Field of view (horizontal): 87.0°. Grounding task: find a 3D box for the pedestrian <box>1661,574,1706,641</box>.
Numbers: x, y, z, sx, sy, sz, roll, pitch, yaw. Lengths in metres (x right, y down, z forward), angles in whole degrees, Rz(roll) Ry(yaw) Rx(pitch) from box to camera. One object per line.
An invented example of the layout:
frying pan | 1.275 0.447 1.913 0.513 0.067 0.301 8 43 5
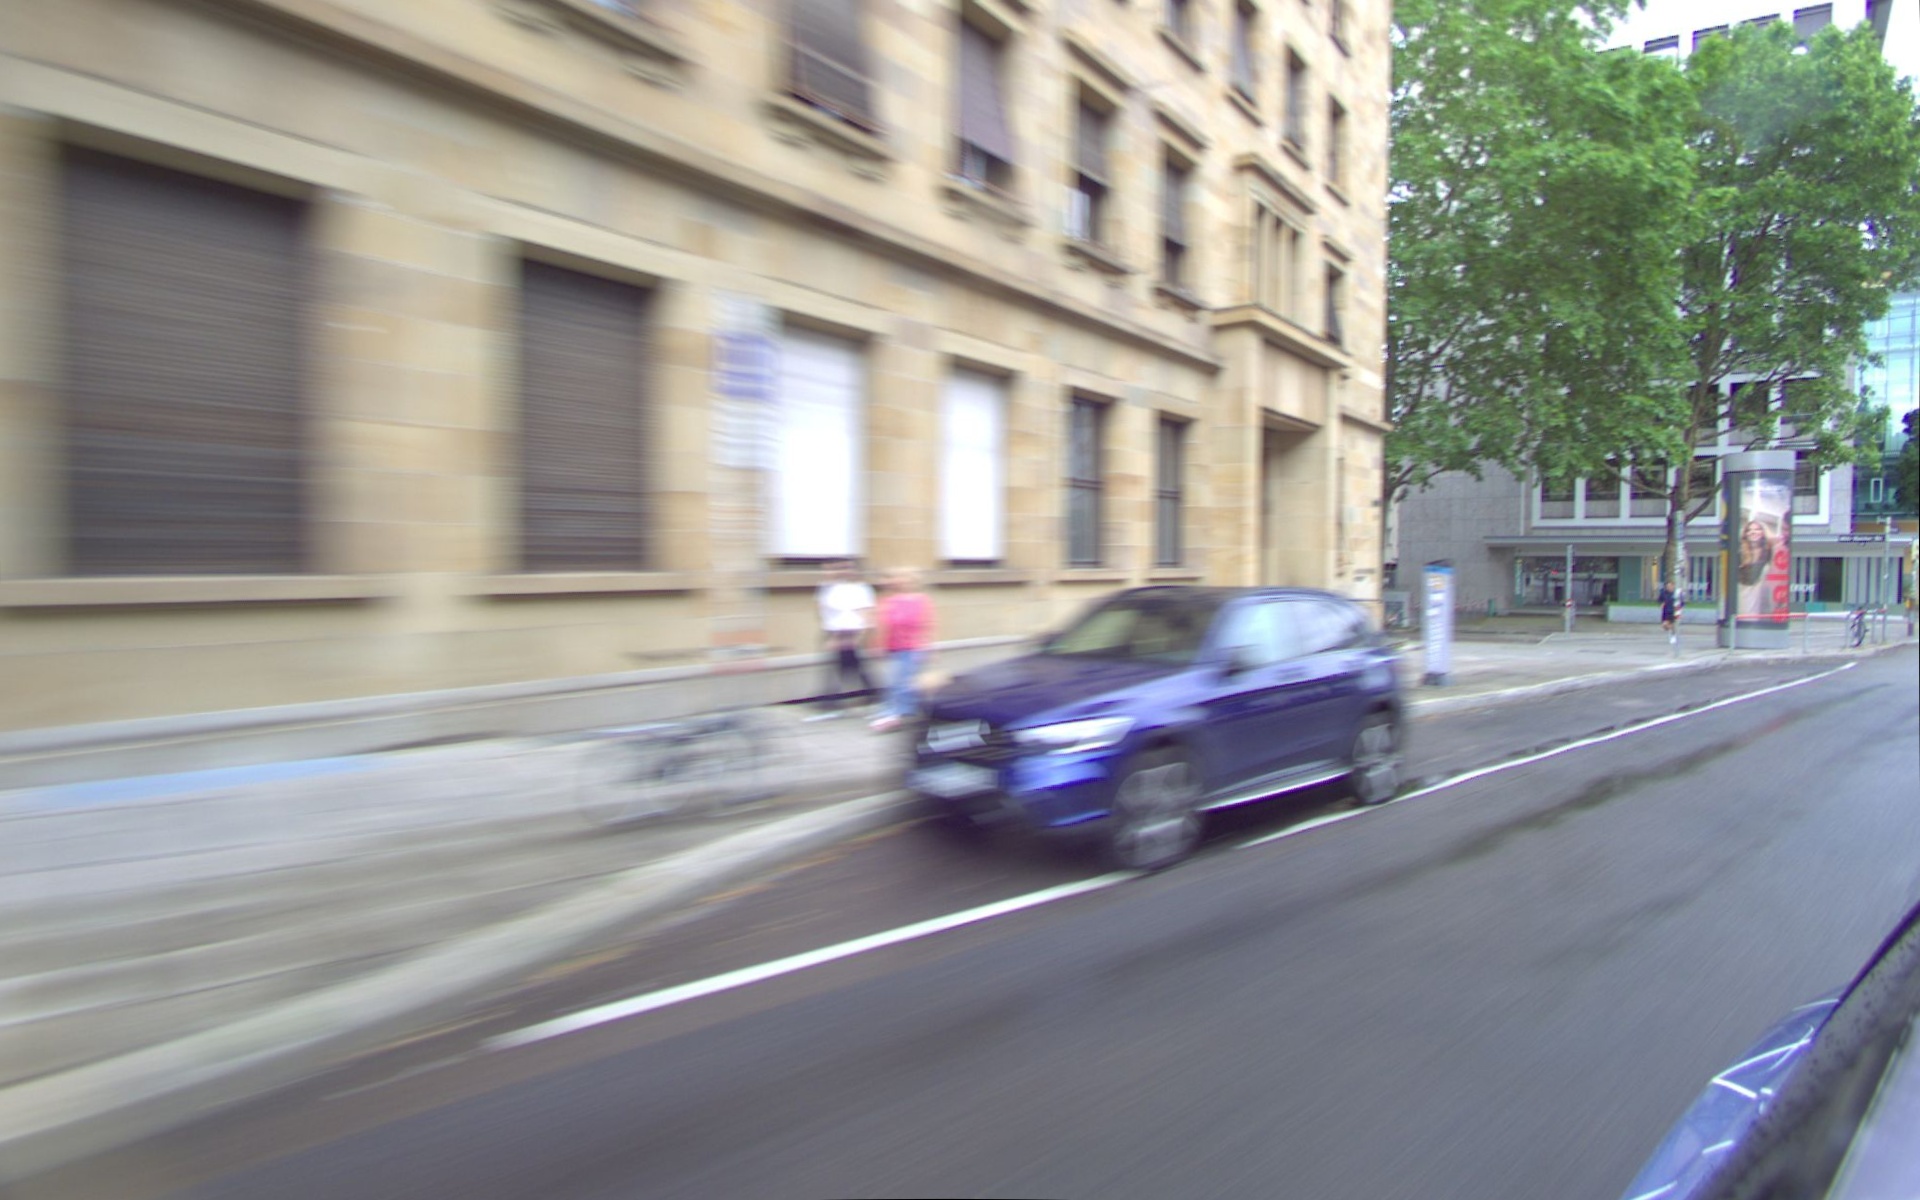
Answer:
pedestrian | 19.896 0.191 27.827 0.847 1.794 0.781 0 1 -40

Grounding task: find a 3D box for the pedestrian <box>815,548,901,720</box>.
pedestrian | -1.006 0.314 9.977 0.524 1.622 0.663 1 1 44

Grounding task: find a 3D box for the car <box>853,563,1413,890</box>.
car | 1.416 0.582 7.114 4.087 1.639 1.770 -1 2 -43

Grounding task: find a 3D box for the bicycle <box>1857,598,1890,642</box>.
bicycle | 23.039 0.483 25.515 1.896 1.025 0.489 -1 2 -44

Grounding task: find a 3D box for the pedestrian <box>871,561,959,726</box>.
pedestrian | -0.433 0.388 9.716 0.524 1.510 0.663 1 1 44
